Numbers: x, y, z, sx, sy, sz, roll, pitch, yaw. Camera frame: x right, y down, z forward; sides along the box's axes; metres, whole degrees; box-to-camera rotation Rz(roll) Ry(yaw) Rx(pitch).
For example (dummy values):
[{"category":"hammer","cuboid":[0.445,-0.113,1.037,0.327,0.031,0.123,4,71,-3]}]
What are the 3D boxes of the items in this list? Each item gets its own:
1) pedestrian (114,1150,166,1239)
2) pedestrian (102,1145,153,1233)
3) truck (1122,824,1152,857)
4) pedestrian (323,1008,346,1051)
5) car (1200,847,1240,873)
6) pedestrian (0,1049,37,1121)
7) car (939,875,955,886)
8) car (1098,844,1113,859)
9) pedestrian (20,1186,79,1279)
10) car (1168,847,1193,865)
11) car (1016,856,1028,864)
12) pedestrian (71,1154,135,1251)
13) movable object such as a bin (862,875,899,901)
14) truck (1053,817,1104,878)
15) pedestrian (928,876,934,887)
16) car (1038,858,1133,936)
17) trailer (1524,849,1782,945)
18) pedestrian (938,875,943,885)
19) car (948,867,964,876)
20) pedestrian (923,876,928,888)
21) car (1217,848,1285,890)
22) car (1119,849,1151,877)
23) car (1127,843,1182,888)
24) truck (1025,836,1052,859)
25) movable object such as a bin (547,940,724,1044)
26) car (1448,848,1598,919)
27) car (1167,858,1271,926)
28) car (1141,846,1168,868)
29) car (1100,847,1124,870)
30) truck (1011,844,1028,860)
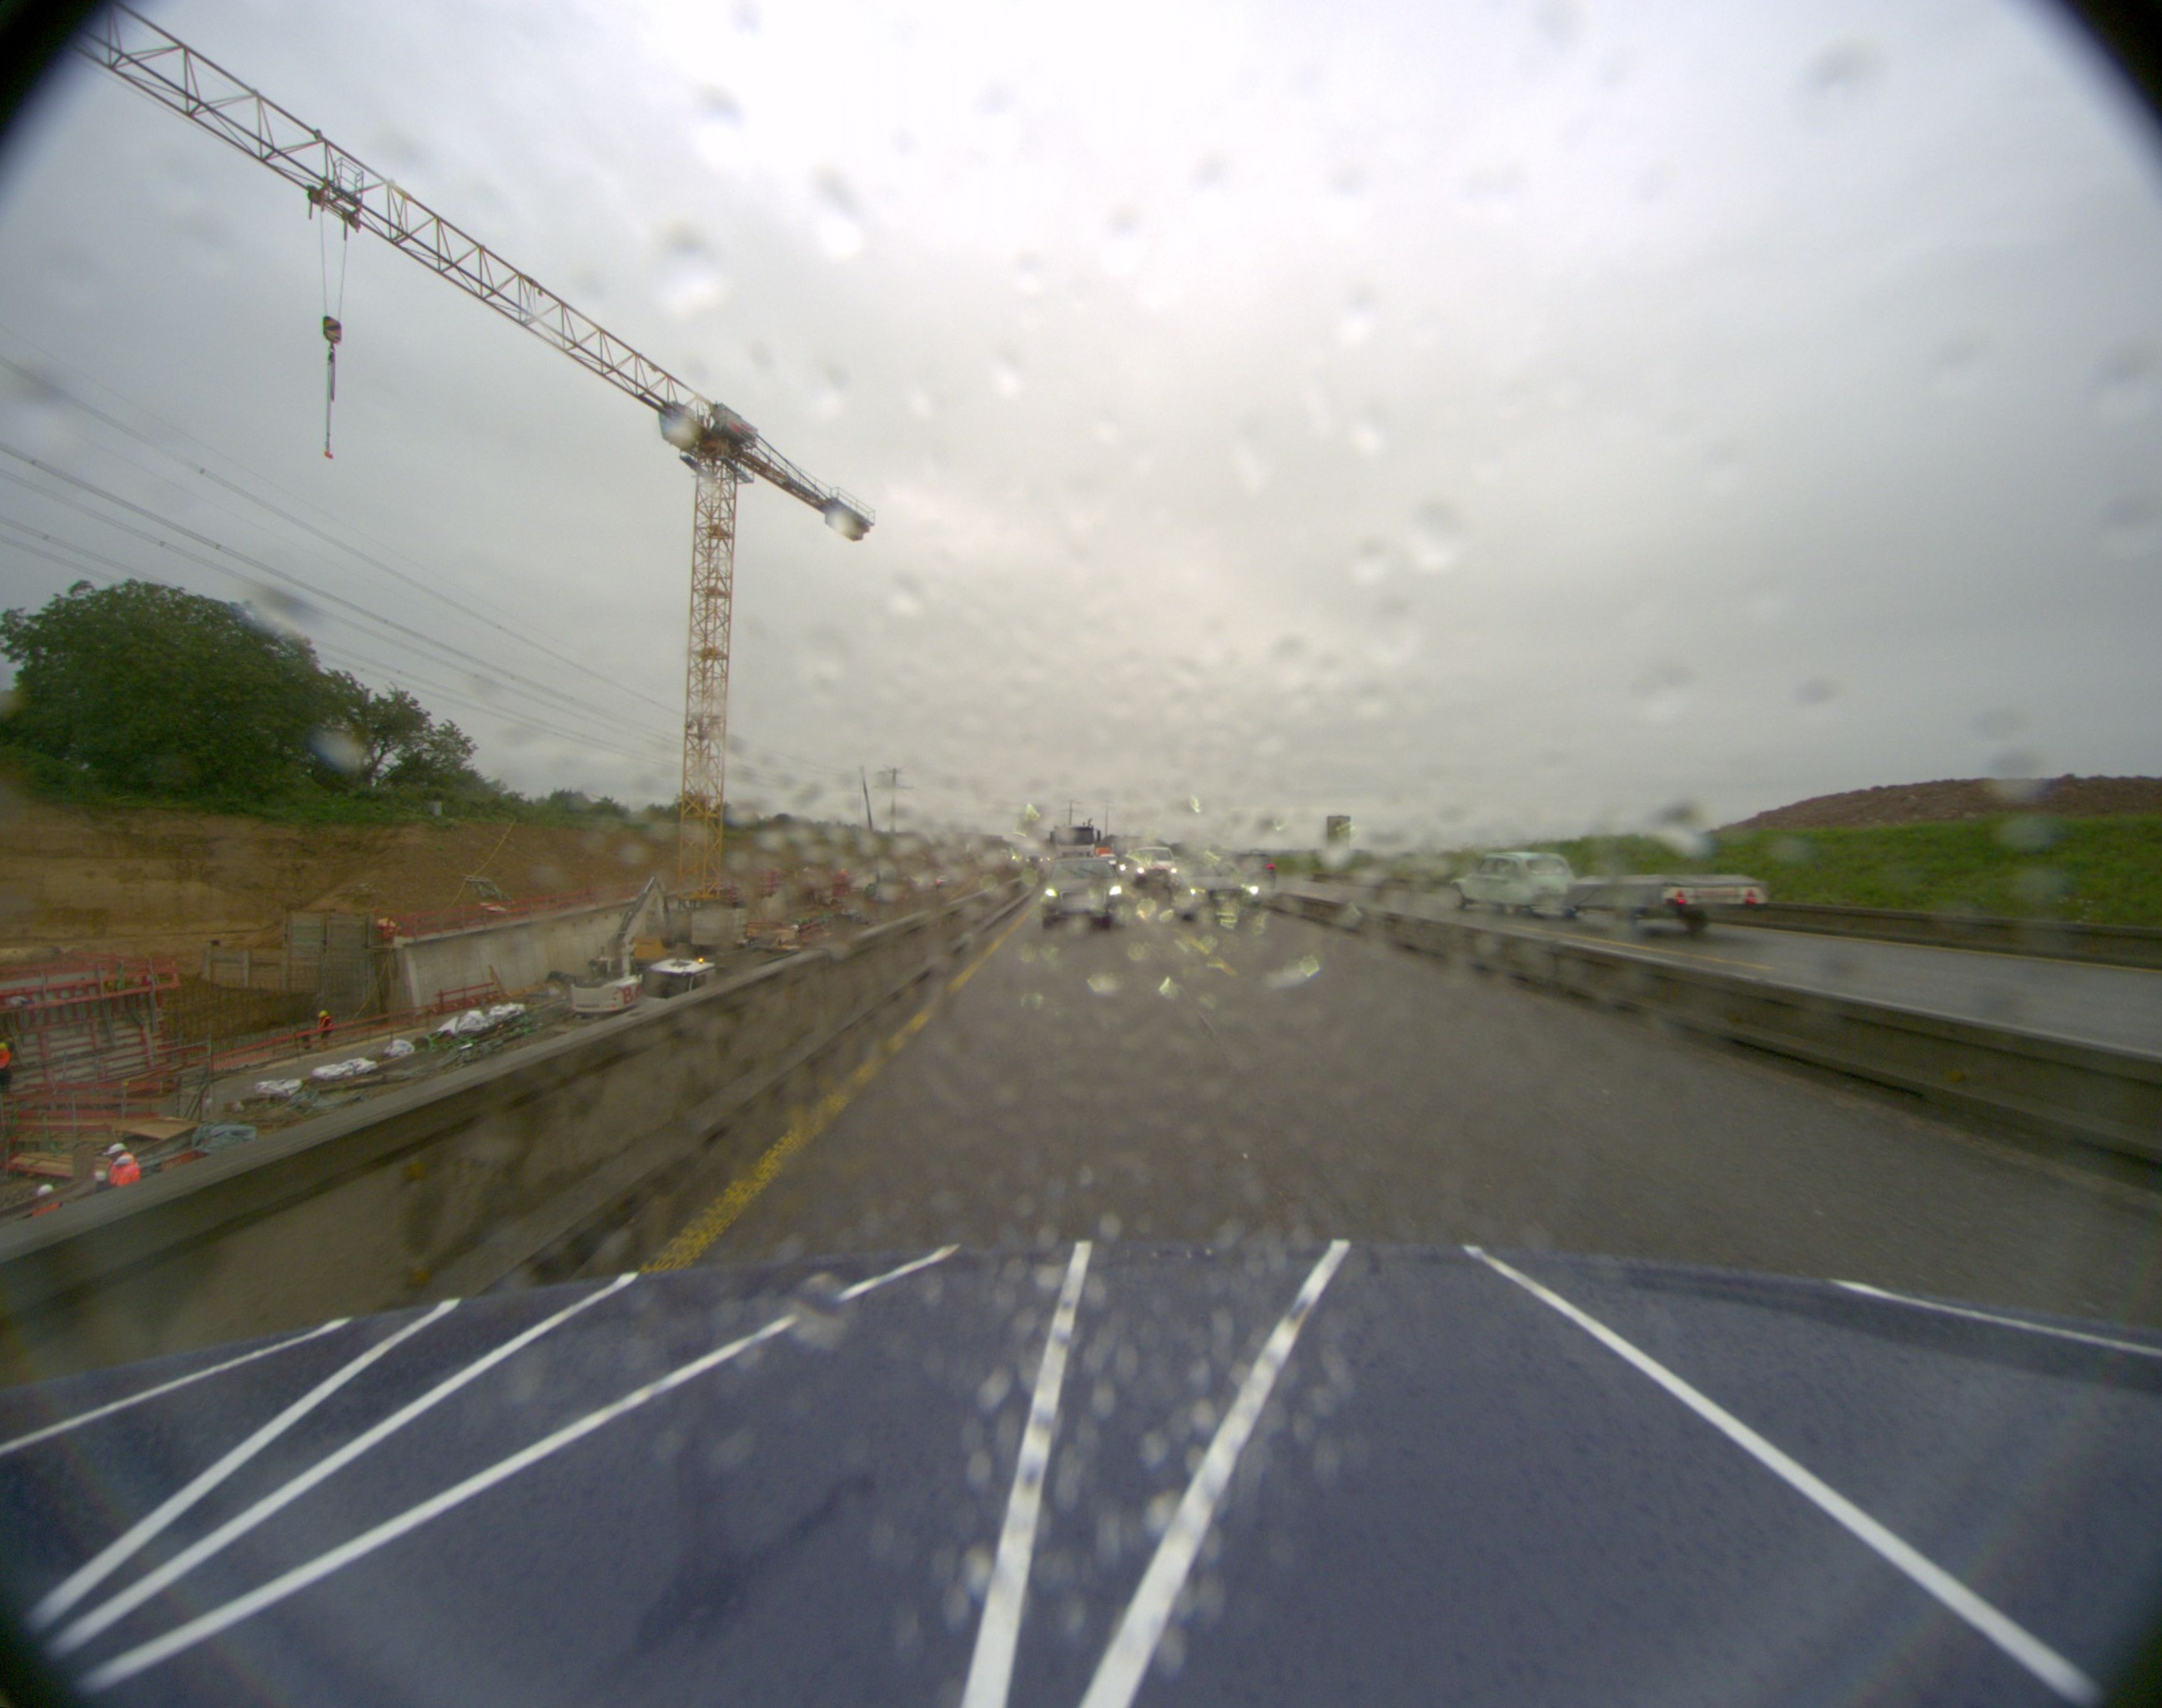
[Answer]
[{"category":"pedestrian","cuboid":[-22.159,8.009,17.902,0.603,1.894,0.481,1,2,0]},{"category":"pedestrian","cuboid":[-22.980,8.068,18.319,0.603,1.894,0.481,2,2,0]},{"category":"truck","cuboid":[7.388,-1.810,100.907,3.227,4.072,9.200,-2,1,0]},{"category":"pedestrian","cuboid":[-32.660,7.676,33.246,0.489,1.750,0.481,1,2,0]},{"category":"car","cuboid":[9.297,0.366,51.229,1.826,1.616,4.751,-2,1,0]},{"category":"pedestrian","cuboid":[-33.710,7.298,24.016,0.489,2.087,0.481,-6,2,0]},{"category":"car","cuboid":[-22.100,4.402,125.574,1.859,1.609,4.079,0,1,-1]},{"category":"car","cuboid":[3.303,-0.368,102.805,1.859,1.926,3.999,-2,1,0]},{"category":"pedestrian","cuboid":[-22.260,8.156,16.409,0.603,1.760,0.481,3,2,0]},{"category":"car","cuboid":[9.321,0.172,71.224,1.772,1.532,3.999,-2,1,0]},{"category":"car","cuboid":[-11.043,1.058,141.782,1.789,1.418,3.999,-2,1,0]},{"category":"pedestrian","cuboid":[-21.779,7.744,16.932,0.603,1.894,0.614,1,2,0]},{"category":"movable object such as a bin","cuboid":[-26.234,4.461,99.517,3.501,2.866,3.999,5,1,0]},{"category":"truck","cuboid":[-0.196,-0.444,48.262,2.856,3.463,8.641,-1,1,-1]},{"category":"pedestrian","cuboid":[-22.988,4.268,116.528,0.614,1.671,0.603,-2,1,2]},{"category":"car","cuboid":[0.093,0.868,17.279,1.874,1.481,4.260,-1,0,0]},{"category":"trailer","cuboid":[10.241,0.671,14.078,1.634,1.456,4.160,0,1,0]},{"category":"pedestrian","cuboid":[-22.397,4.139,120.849,0.614,1.671,0.603,-2,1,2]},{"category":"car","cuboid":[-24.116,3.310,146.711,2.351,1.609,4.858,0,1,-1]},{"category":"pedestrian","cuboid":[-23.829,4.253,116.469,0.614,1.848,0.666,1,1,2]},{"category":"car","cuboid":[7.114,0.589,32.239,1.947,1.584,4.308,-1,1,0]},{"category":"car","cuboid":[3.263,0.497,46.589,1.626,1.583,3.999,-2,1,0]},{"category":"car","cuboid":[3.372,0.449,35.724,2.069,1.934,5.155,-1,1,0]},{"category":"truck","cuboid":[-8.571,-1.230,150.974,4.320,4.319,13.397,-2,1,-7]},{"category":"movable object such as a bin","cuboid":[-20.394,6.187,35.397,3.514,3.405,6.655,-1,2,9]},{"category":"car","cuboid":[10.258,0.604,17.949,1.361,1.456,3.716,0,1,0]},{"category":"car","cuboid":[3.243,0.847,18.639,1.805,1.375,4.087,-1,1,0]},{"category":"car","cuboid":[6.189,0.202,64.111,1.870,1.744,3.999,-2,1,0]},{"category":"car","cuboid":[2.526,0.350,62.851,1.789,1.744,3.999,-2,1,0]},{"category":"truck","cuboid":[-16.618,-0.577,205.817,3.545,3.871,8.334,-2,1,0]}]
